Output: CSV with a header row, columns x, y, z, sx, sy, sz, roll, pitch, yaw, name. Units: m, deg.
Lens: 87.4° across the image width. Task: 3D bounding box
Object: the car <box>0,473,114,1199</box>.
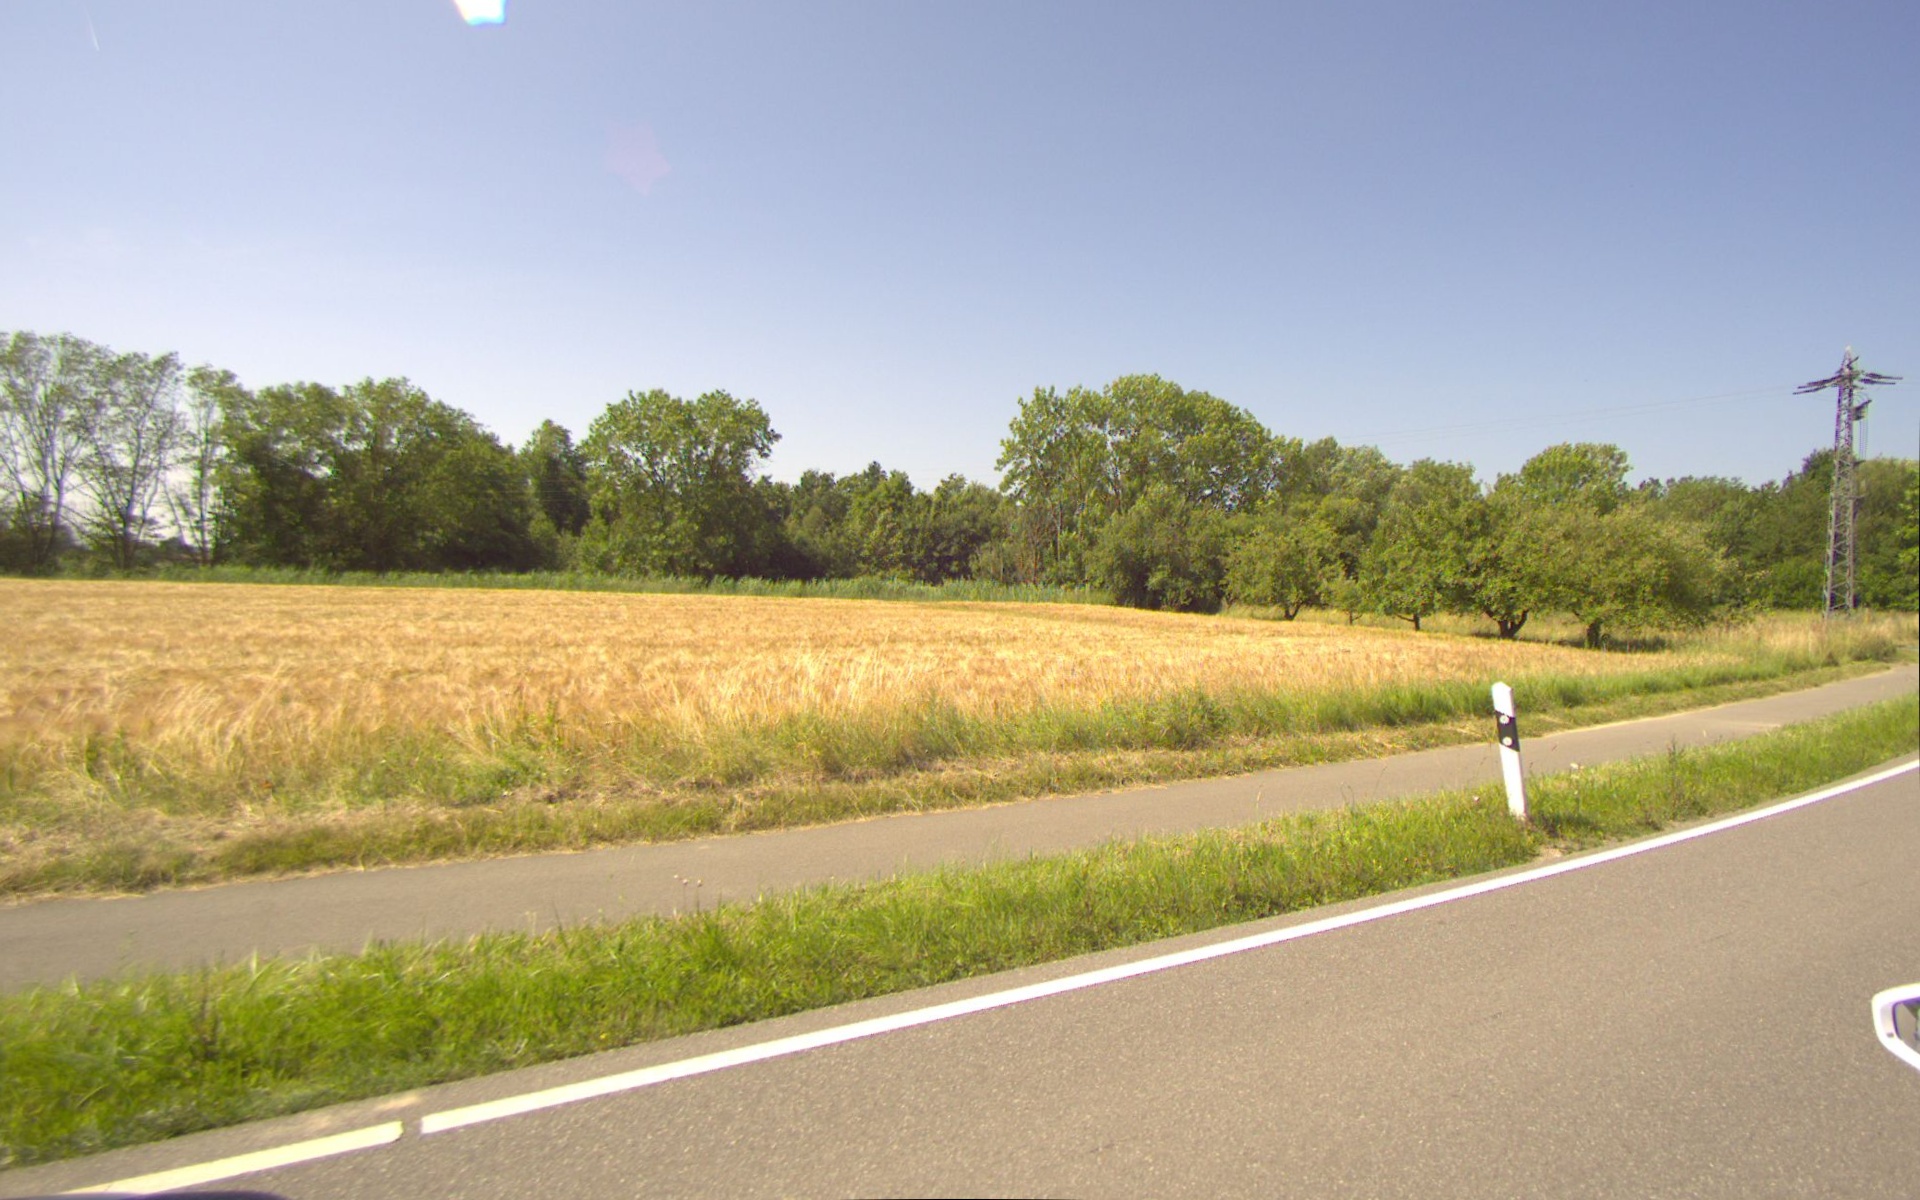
x,y,z,sx,sy,sz,roll,pitch,yaw,name
-3.591,0.599,0.953,3.967,1.738,1.877,1,0,-31,car
